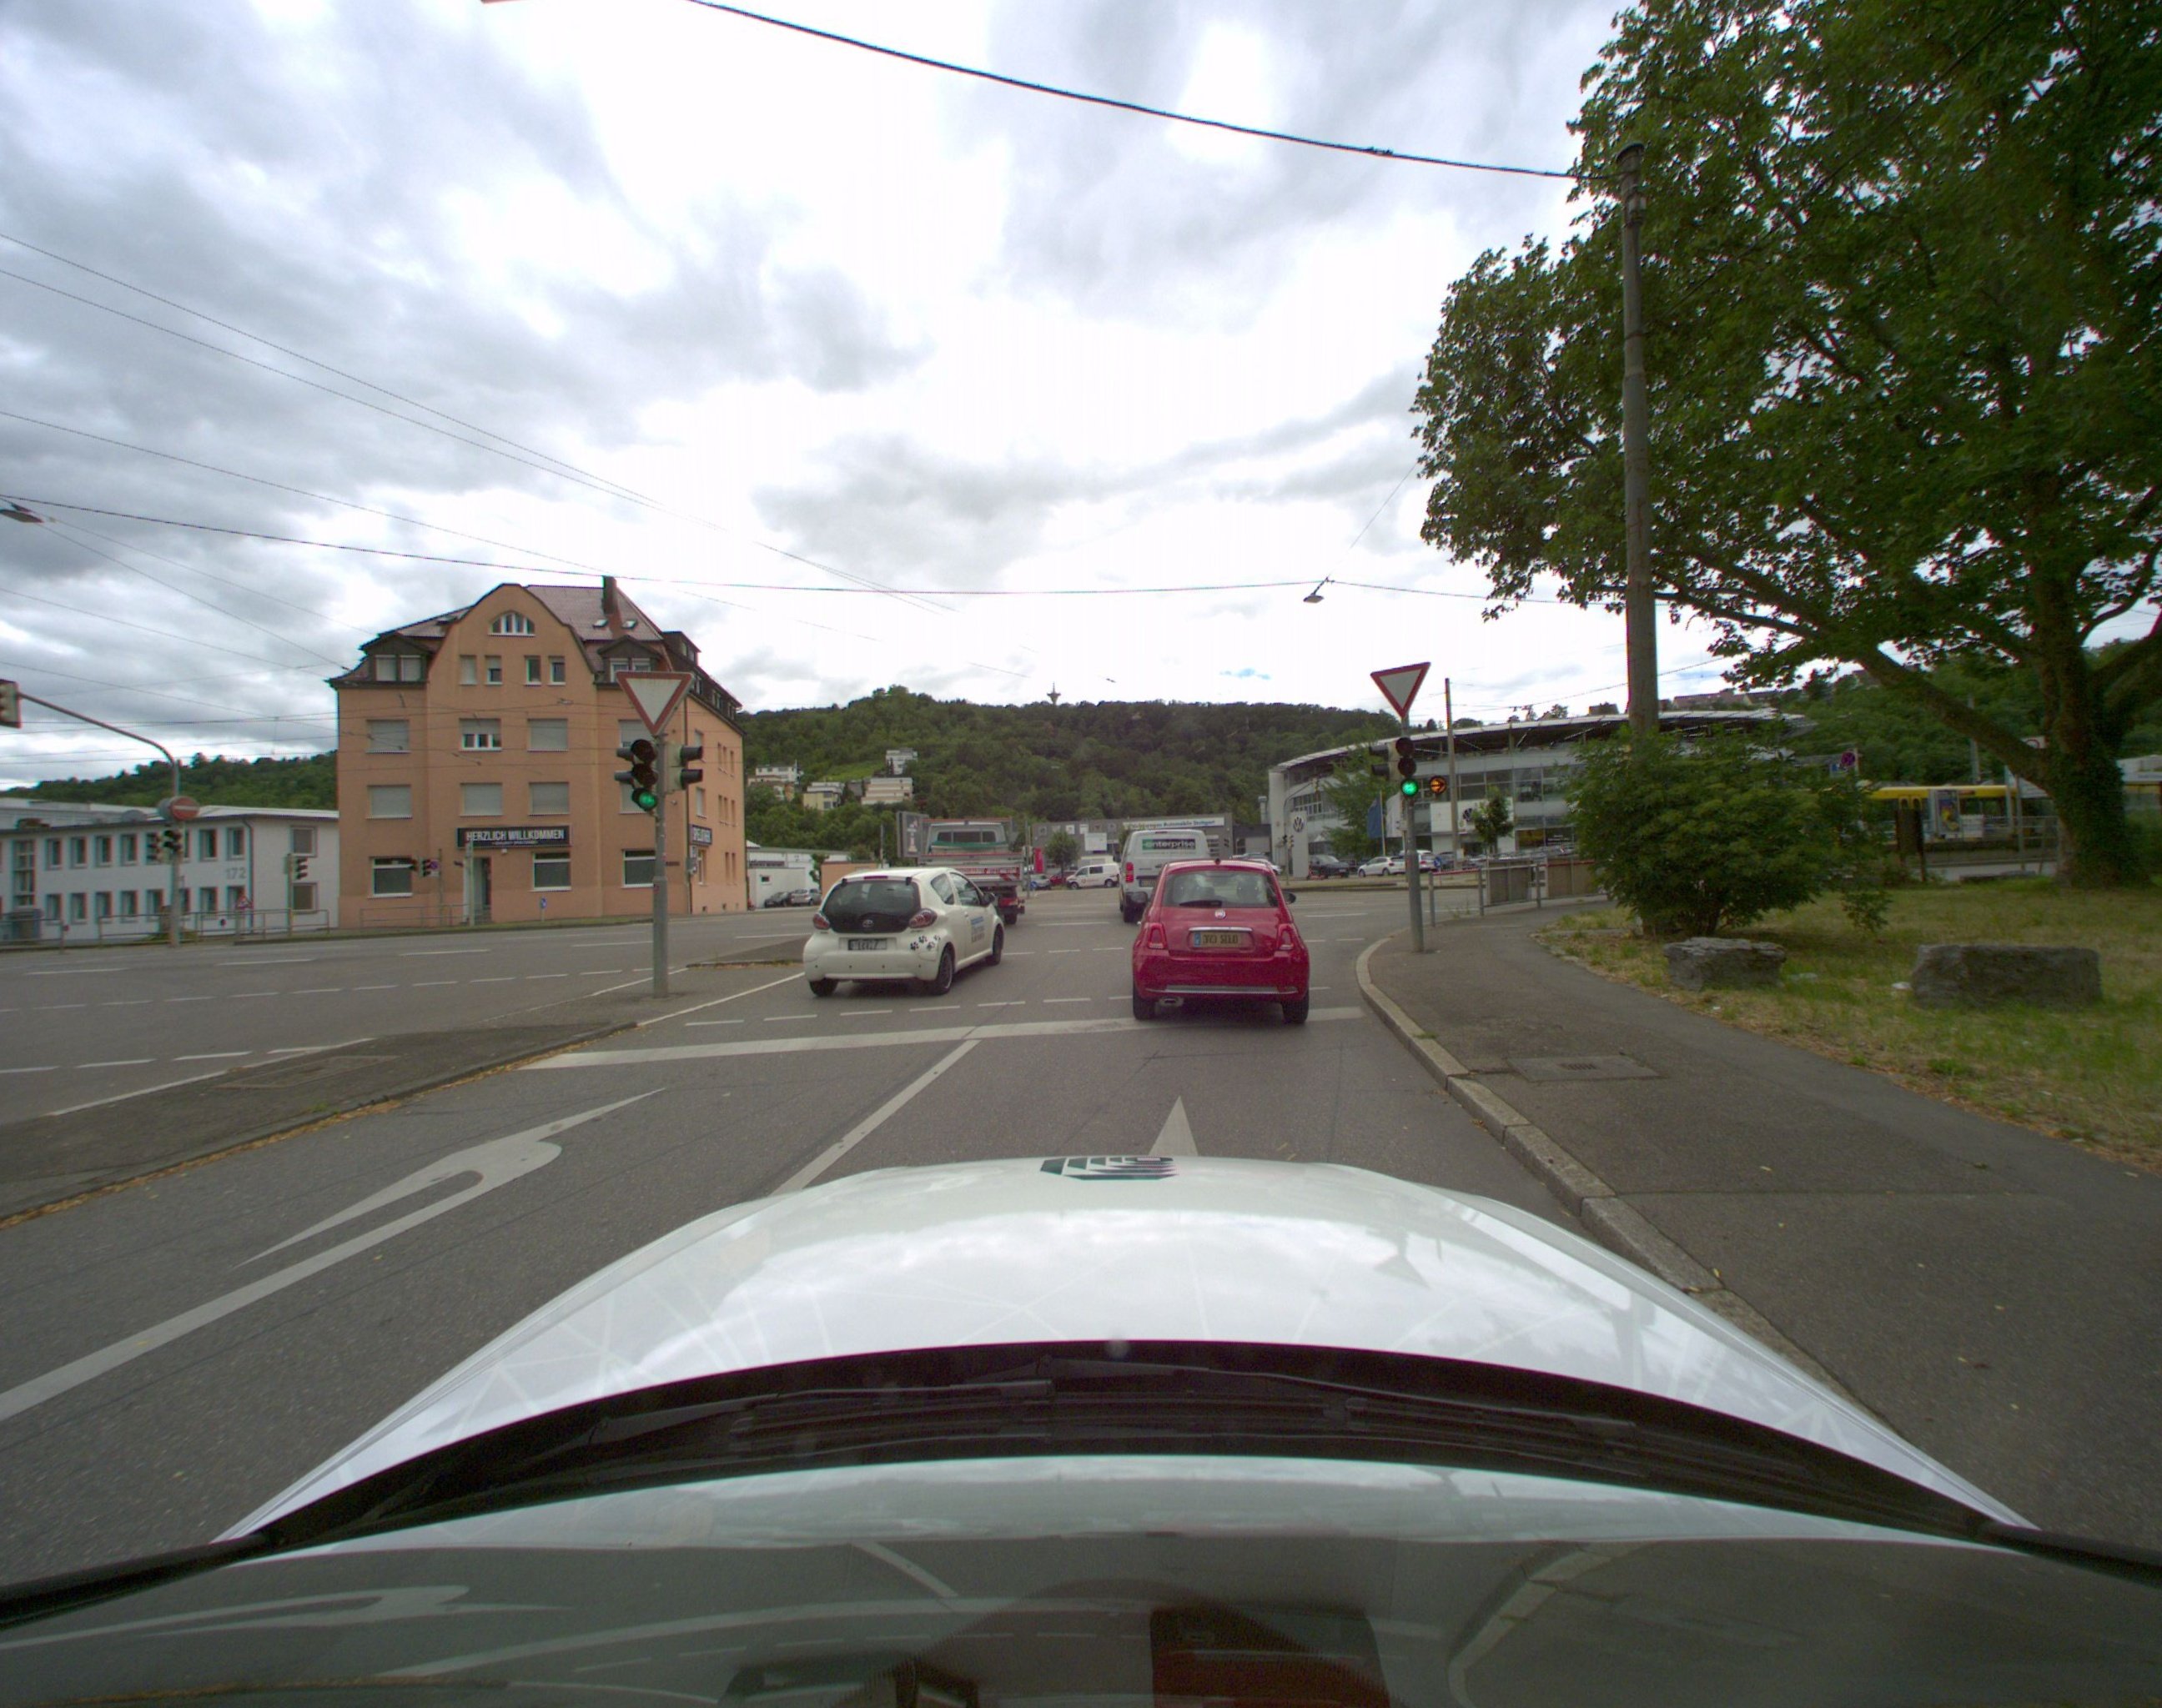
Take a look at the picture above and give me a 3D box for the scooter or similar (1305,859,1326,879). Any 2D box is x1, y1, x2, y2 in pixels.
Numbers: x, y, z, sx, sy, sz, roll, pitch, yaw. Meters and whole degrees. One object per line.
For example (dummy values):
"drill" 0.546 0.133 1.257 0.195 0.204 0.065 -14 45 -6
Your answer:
"scooter or similar" 15.226 0.989 52.866 1.195 1.288 0.576 1 -2 3

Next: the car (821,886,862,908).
"car" -21.194 3.812 72.260 1.985 1.839 4.513 1 -2 3

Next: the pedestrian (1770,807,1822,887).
"pedestrian" 17.130 -0.161 19.530 0.670 1.867 0.601 -1 -2 -14

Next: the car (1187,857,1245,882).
"car" 10.137 1.179 61.418 3.976 1.706 1.998 1 -2 -2

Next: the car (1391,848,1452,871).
"car" 23.863 0.417 57.176 1.814 1.477 3.973 2 -2 -19

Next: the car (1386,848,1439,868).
"car" 28.453 0.364 70.053 1.932 1.554 3.964 2 -3 -28

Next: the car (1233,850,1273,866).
"car" 20.363 0.523 96.447 4.472 1.729 2.003 1 -2 6

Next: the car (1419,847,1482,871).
"car" 26.225 0.400 57.933 1.927 1.554 3.973 2 -2 -19

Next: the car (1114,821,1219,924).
"car" 1.830 0.356 18.865 1.991 2.040 4.833 1 0 1

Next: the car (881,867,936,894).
"car" -14.704 2.268 69.573 4.498 2.243 1.992 2 -2 -12

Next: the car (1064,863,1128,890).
"car" 1.304 1.902 68.612 4.968 2.014 2.006 -3 -3 12

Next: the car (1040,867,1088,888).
"car" -1.676 2.367 82.212 4.471 1.997 2.004 1 -2 7

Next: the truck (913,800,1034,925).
"truck" -2.611 0.194 18.926 2.314 2.421 5.633 -1 -1 -10

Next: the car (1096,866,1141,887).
"car" 3.558 2.128 76.358 3.962 1.794 1.858 1 -2 10

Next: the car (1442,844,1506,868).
"car" 28.341 0.168 58.849 1.927 1.554 3.973 2 -2 -19

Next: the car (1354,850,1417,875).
"car" 21.190 0.619 56.824 2.000 1.640 3.973 2 -2 -19

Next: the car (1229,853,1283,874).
"car" 15.470 0.824 72.186 4.472 1.729 2.003 1 -2 6

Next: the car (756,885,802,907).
"car" -26.605 3.680 71.974 1.984 1.839 4.516 1 -2 5

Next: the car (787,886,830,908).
"car" -24.048 3.741 72.076 1.984 1.839 4.514 1 -2 4

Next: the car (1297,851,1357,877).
"car" 16.767 0.698 55.694 2.000 1.640 3.973 -1 -1 -19

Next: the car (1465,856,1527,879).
"car" 30.422 1.020 59.860 1.729 1.554 3.973 2 -2 -19

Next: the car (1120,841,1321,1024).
"car" 1.533 0.700 9.031 1.687 1.525 4.010 1 -1 10

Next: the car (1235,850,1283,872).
"car" 17.451 0.703 79.955 4.471 1.997 2.004 1 -2 7

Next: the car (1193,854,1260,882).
"car" 9.420 0.893 52.628 3.953 1.639 2.011 0 2 21

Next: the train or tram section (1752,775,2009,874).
"train or tram section" 36.691 -1.364 37.319 11.897 3.967 2.734 -3 -1 -16

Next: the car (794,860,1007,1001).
"car" -2.122 0.845 10.515 1.585 1.420 3.380 -3 0 6

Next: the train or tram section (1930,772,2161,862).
"train or tram section" 48.158 -1.863 40.584 11.897 3.967 2.734 -3 -1 -16

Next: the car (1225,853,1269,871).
"car" 17.760 0.851 87.148 4.472 1.729 2.003 1 -2 6
